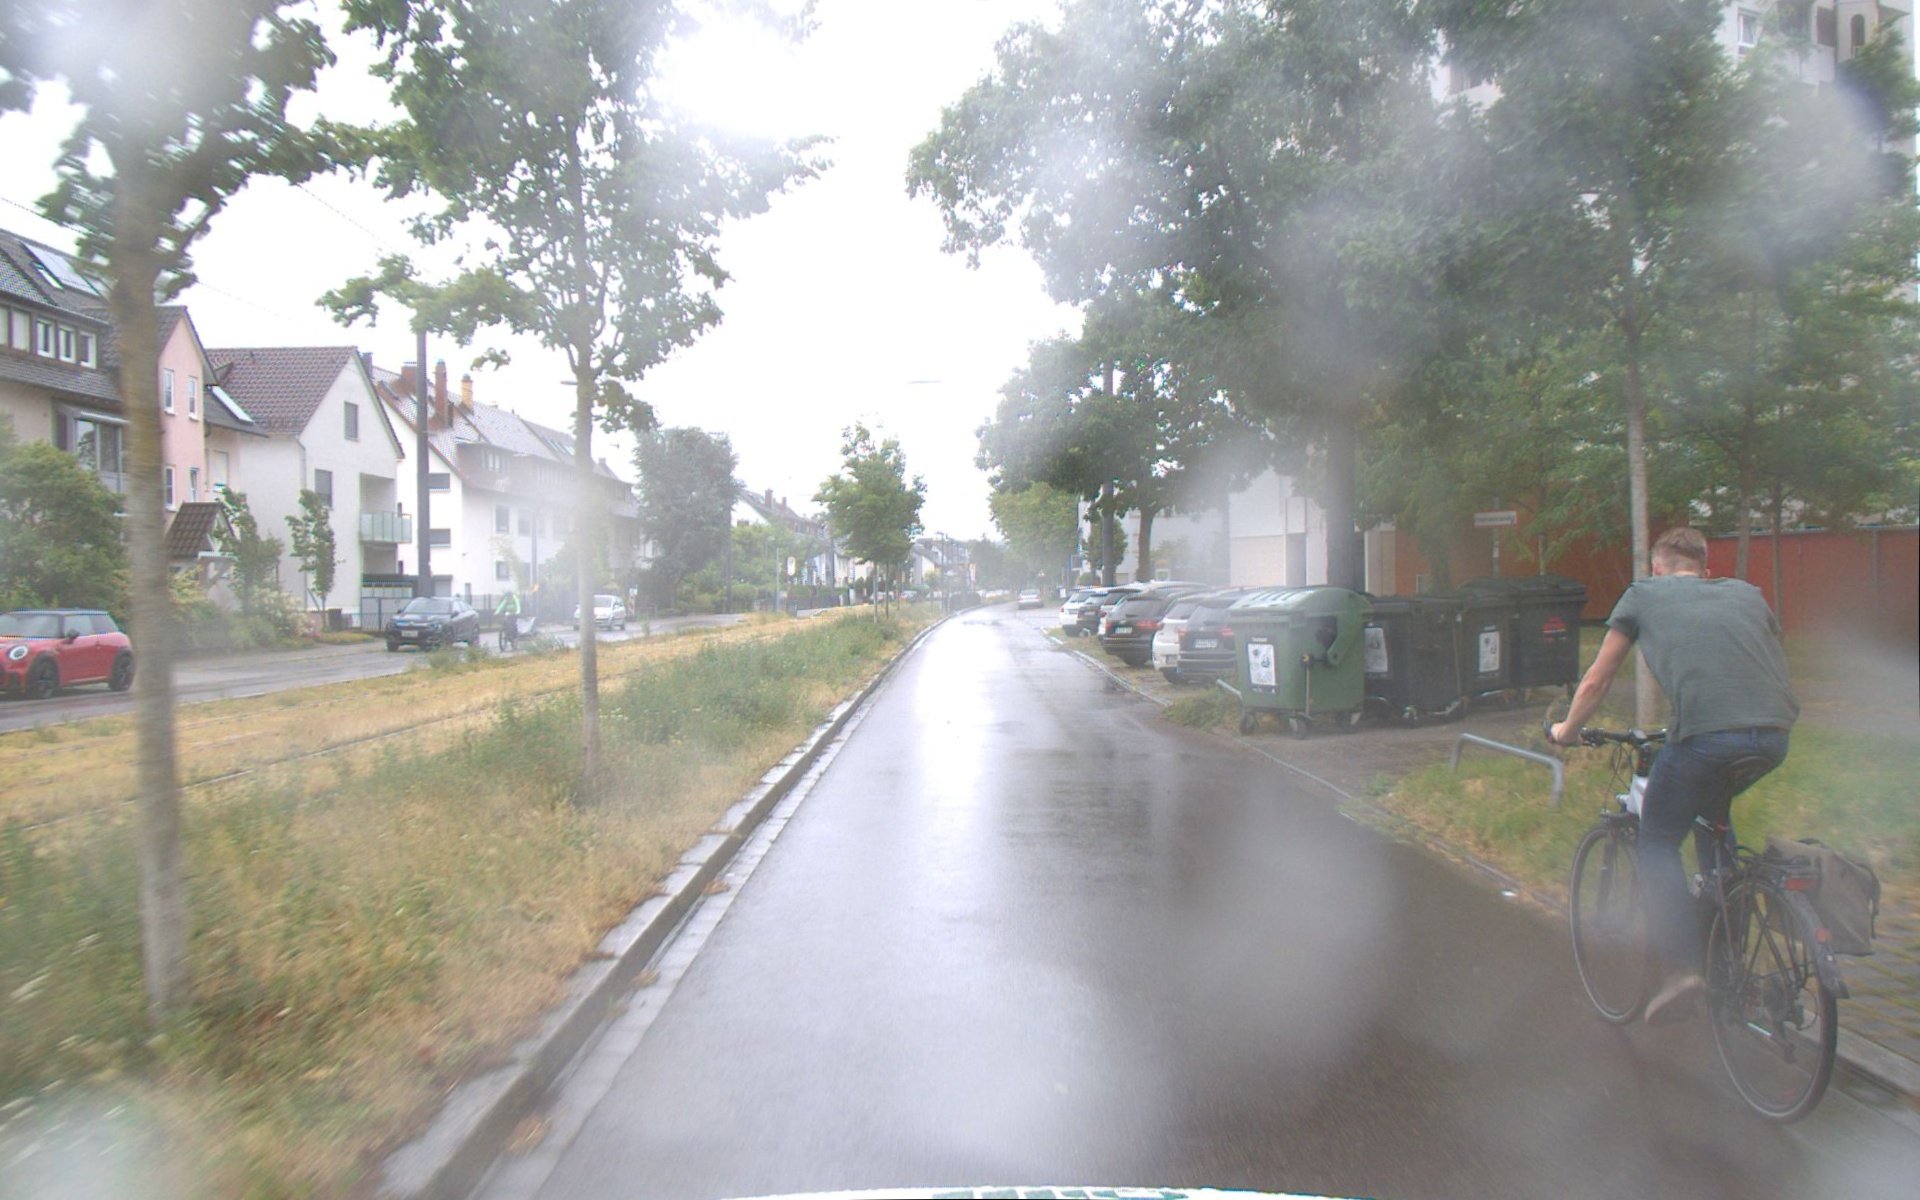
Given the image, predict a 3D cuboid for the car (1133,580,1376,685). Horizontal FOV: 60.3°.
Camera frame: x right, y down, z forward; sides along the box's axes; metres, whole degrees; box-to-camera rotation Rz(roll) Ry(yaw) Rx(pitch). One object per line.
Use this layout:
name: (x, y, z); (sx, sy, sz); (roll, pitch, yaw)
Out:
car: (4.852, 0.487, 27.053); (3.994, 1.545, 1.566); (-2, 1, -35)

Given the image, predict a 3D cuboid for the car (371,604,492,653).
car: (-15.452, 0.798, 48.606); (1.857, 1.266, 4.689); (1, 1, 2)

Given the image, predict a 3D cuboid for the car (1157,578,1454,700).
car: (5.018, 0.508, 23.827); (4.179, 1.545, 1.854); (-2, 1, -35)

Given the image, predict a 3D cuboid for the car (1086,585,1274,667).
car: (4.403, 0.476, 32.682); (4.011, 1.468, 1.559); (-2, 1, -45)

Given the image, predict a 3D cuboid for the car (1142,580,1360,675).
car: (5.354, 0.462, 30.198); (3.994, 1.545, 1.566); (-2, 1, -35)

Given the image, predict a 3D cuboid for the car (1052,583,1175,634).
car: (5.033, 0.251, 54.056); (3.998, 1.539, 1.564); (-2, 1, -38)

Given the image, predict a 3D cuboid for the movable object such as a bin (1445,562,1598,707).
movable object such as a bin: (6.385, 0.372, 18.833); (1.229, 1.546, 1.079); (-2, 1, -28)

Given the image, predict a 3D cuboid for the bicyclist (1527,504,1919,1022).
bicyclist: (2.425, 0.458, 5.270); (0.793, 1.458, 1.059); (-2, 0, -4)

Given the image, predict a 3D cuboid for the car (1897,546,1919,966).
car: (5.624, 0.476, 6.790); (3.847, 1.594, 1.710); (-4, 2, -38)

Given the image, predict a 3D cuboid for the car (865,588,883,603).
car: (-9.896, -0.498, 189.763); (1.805, 1.701, 4.000); (-1, 0, 0)

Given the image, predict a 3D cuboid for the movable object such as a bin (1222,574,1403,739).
movable object such as a bin: (3.570, 0.543, 16.873); (1.110, 1.482, 1.392); (-7, 2, -21)

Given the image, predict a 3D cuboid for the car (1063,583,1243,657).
car: (4.299, 0.411, 36.529); (3.998, 1.468, 1.564); (-2, 1, -38)

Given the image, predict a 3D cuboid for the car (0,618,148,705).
car: (-15.485, 0.982, 27.882); (1.640, 1.266, 3.855); (1, 0, 0)

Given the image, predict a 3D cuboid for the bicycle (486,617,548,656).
bicycle: (-13.183, 1.076, 49.312); (0.997, 1.045, 3.196); (-1, 1, 0)

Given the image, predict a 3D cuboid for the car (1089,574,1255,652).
car: (5.106, 0.282, 39.553); (3.998, 1.733, 1.564); (-2, 1, -38)

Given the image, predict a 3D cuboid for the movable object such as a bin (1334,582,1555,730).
movable object such as a bin: (5.019, 0.547, 17.207); (1.658, 1.349, 1.392); (-4, 1, -22)

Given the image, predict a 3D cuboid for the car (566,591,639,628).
car: (-15.222, 0.391, 70.664); (1.857, 1.495, 4.689); (1, 0, 2)

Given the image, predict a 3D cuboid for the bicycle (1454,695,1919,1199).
bicycle: (2.434, 0.957, 5.323); (0.793, 1.116, 2.516); (-2, 0, -3)

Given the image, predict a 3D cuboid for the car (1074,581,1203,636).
car: (5.551, 0.252, 51.218); (3.998, 1.567, 1.564); (-2, 1, -38)

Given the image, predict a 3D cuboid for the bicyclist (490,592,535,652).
bicyclist: (-13.186, 0.631, 48.721); (0.997, 1.715, 1.091); (-1, 0, -1)

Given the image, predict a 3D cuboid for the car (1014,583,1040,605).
car: (5.004, -0.445, 124.187); (1.795, 1.614, 4.000); (-1, 0, 0)
